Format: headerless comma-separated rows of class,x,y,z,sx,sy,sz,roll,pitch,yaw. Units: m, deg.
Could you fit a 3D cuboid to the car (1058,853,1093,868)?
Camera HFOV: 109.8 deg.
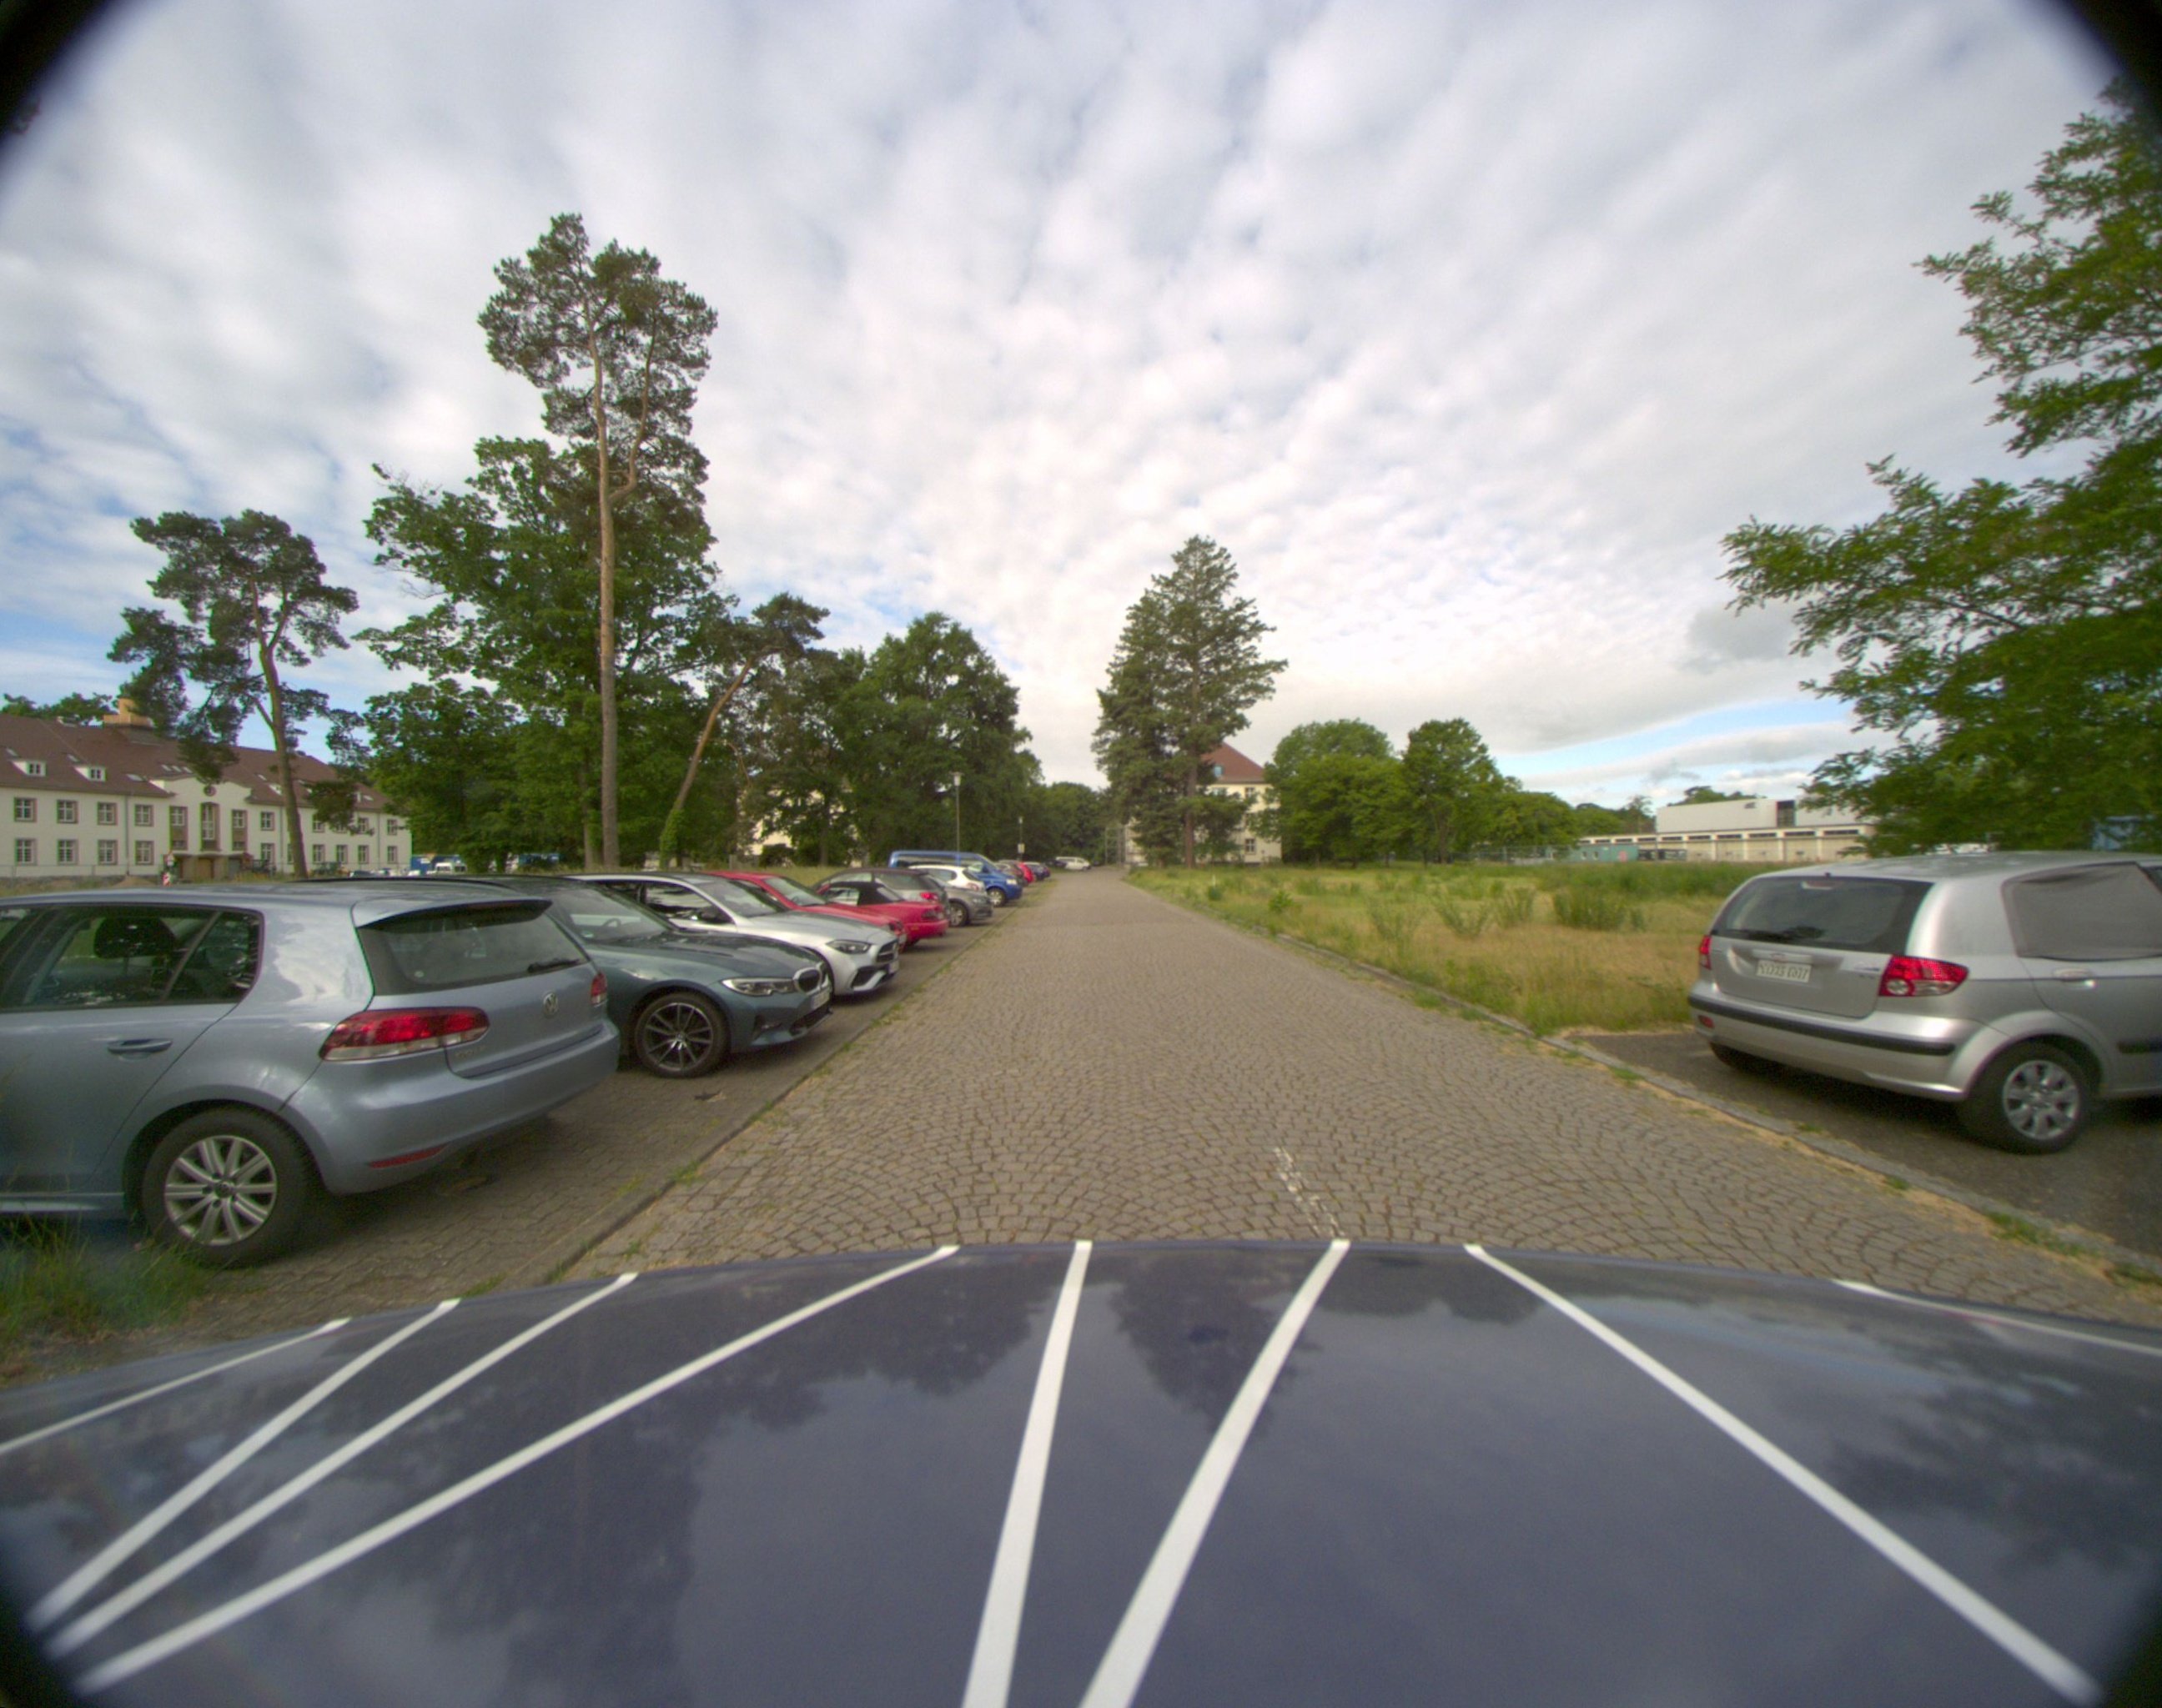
car,-0.767,0.918,110.189,5.031,2.164,2.000,-1,0,2

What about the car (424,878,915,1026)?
car,-4.540,1.065,8.928,4.769,1.474,1.812,-1,0,0

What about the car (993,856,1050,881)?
car,-4.426,1.064,56.921,4.007,1.752,2.000,-1,0,1

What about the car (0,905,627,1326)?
car,-4.504,1.005,3.555,3.773,1.418,1.606,1,0,-1

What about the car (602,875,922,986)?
car,-4.545,1.069,11.288,3.972,1.443,1.800,-1,0,0

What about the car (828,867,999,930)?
car,-4.124,1.092,19.151,3.848,1.448,1.820,-1,0,2

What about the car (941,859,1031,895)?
car,-4.491,1.079,36.341,3.997,1.601,2.000,-1,0,0

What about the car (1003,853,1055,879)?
car,-4.171,0.973,61.318,3.996,2.002,2.000,-1,0,1

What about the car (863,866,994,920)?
car,-4.346,1.100,21.975,3.408,1.443,1.637,-1,0,1

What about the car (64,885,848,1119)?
car,-4.550,1.049,6.167,4.770,1.474,1.761,-1,0,-3

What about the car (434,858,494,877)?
car,-68.074,1.498,83.958,2.153,2.002,5.225,-1,0,3

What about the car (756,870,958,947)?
car,-4.662,1.117,16.263,3.787,1.496,1.799,-1,0,-2

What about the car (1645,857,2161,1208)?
car,5.904,0.838,4.592,3.688,1.444,1.808,-3,0,-4

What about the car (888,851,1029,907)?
car,-4.322,0.872,27.399,4.749,1.927,2.000,0,0,0

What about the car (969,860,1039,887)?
car,-4.688,1.179,46.672,3.997,1.521,2.000,-2,0,0

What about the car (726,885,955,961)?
car,-4.184,1.197,13.580,3.600,1.200,1.495,-1,0,1
